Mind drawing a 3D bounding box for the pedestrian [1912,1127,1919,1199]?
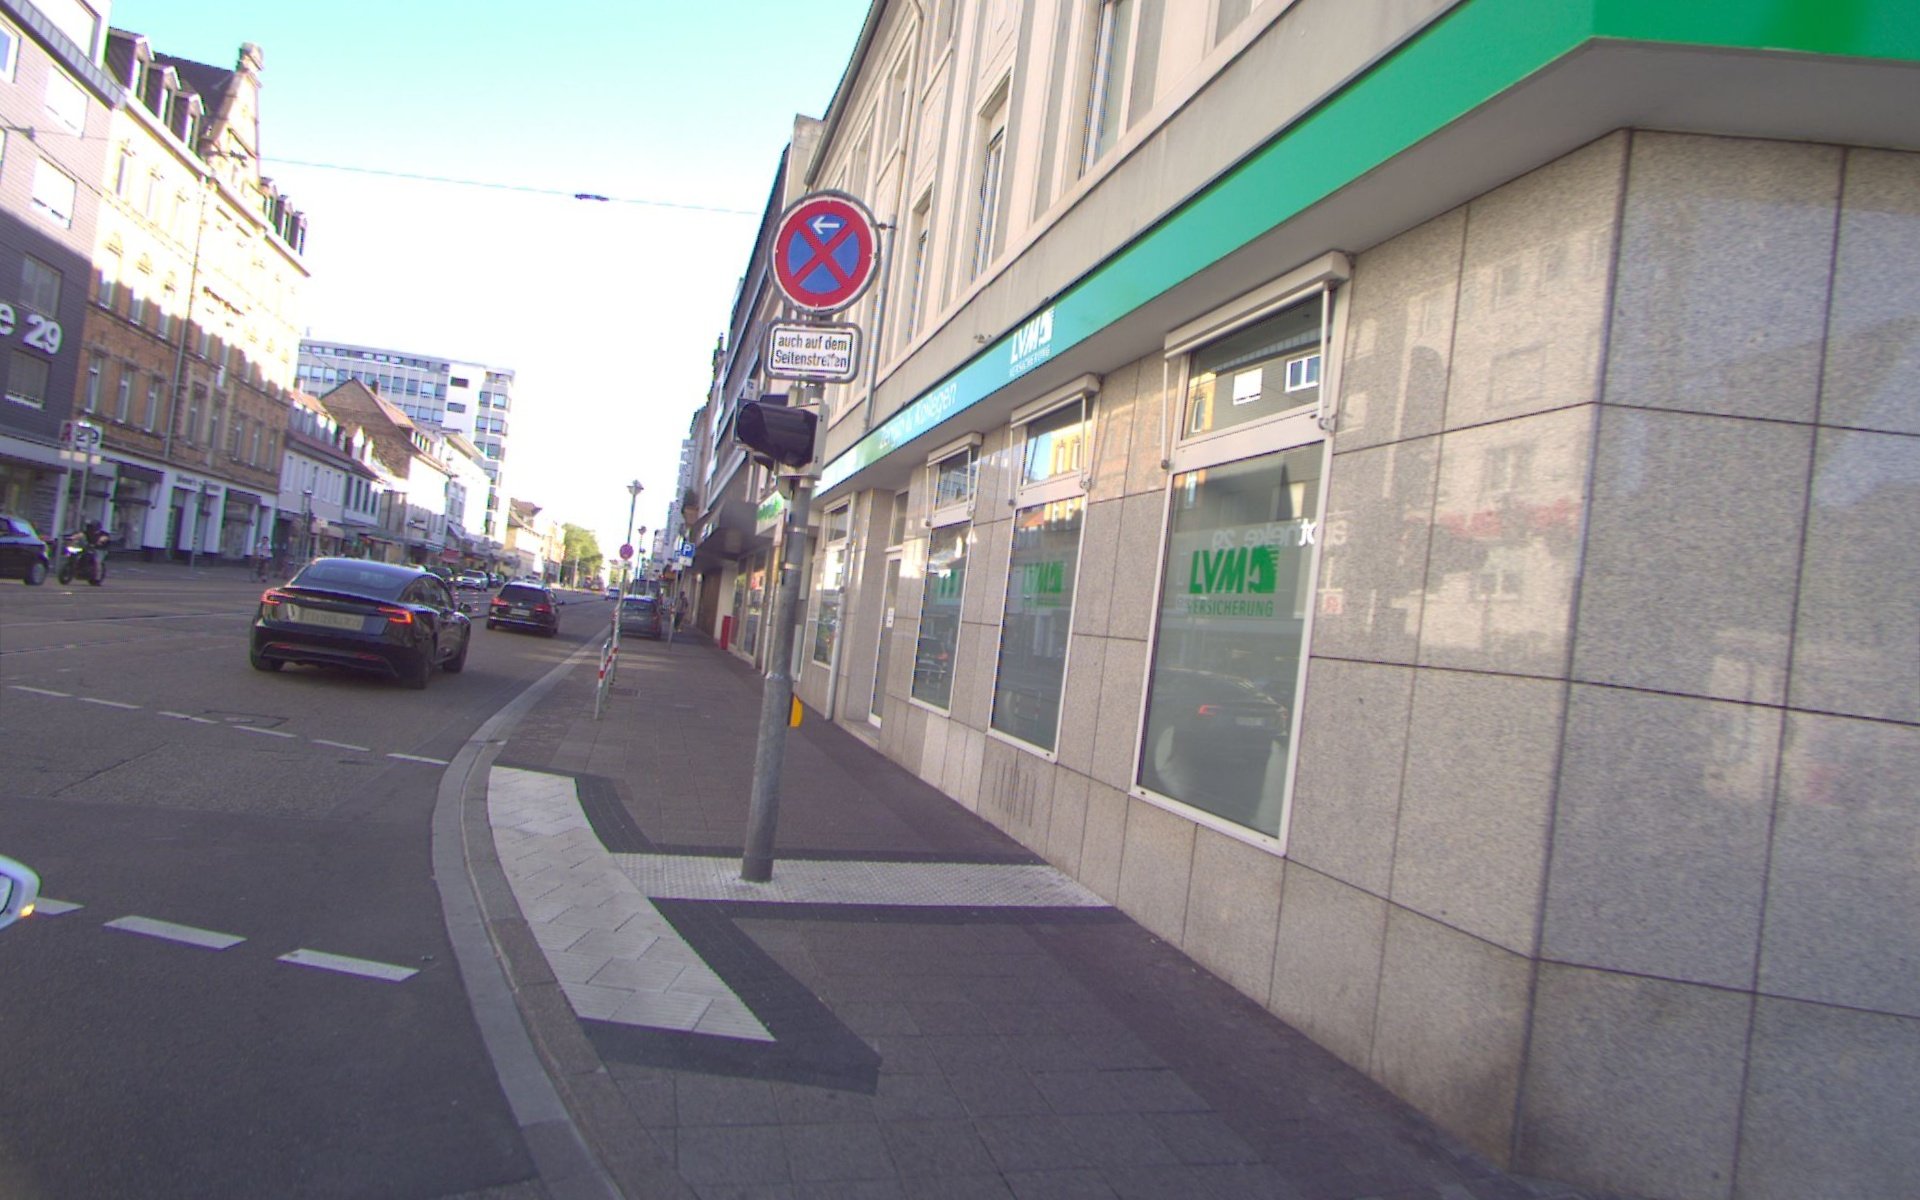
[{"bbox_3d":[1.839,0.808,1.254,0.668,1.863,0.642,7,-1,6],"label":"pedestrian"}]

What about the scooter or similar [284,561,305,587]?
[{"bbox_3d":[-32.267,-1.263,48.756,0.360,1.215,1.471,9,-2,-20],"label":"scooter or similar"}]

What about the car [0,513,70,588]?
[{"bbox_3d":[-20.050,-1.073,20.124,1.692,1.463,4.125,5,-1,-17],"label":"car"}]

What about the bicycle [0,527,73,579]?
[{"bbox_3d":[-25.775,-1.313,27.651,1.915,1.204,0.549,8,-1,-22],"label":"bicycle"}]

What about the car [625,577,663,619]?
[{"bbox_3d":[-21.536,-0.149,68.483,2.146,2.491,5.343,6,-1,-18],"label":"car"}]

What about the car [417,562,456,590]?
[{"bbox_3d":[-34.468,-1.544,66.278,1.629,1.584,2.820,8,-2,-17],"label":"car"}]

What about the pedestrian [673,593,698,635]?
[{"bbox_3d":[-12.721,0.636,46.583,0.912,1.865,0.996,5,0,-17],"label":"pedestrian"}]

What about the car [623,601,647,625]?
[{"bbox_3d":[-30.160,1.193,93.507,1.801,1.892,3.741,8,-2,-17],"label":"car"}]

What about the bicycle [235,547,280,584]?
[{"bbox_3d":[-28.375,-1.369,40.650,0.741,1.308,2.019,7,-2,-16],"label":"bicycle"}]

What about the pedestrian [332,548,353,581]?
[{"bbox_3d":[-36.644,-2.096,59.735,0.604,1.796,0.718,7,-1,-4],"label":"pedestrian"}]

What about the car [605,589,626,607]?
[{"bbox_3d":[-42.545,-0.256,124.370,2.061,1.892,3.741,8,-2,-17],"label":"car"}]

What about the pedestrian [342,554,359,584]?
[{"bbox_3d":[-38.531,-1.947,63.582,0.650,1.844,0.639,8,-1,-23],"label":"pedestrian"}]

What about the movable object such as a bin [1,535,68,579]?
[{"bbox_3d":[-26.473,-1.221,28.799,1.087,1.075,0.696,9,-2,-18],"label":"movable object such as a bin"}]

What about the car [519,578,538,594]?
[{"bbox_3d":[-64.341,-2.063,150.087,1.986,1.984,4.709,8,-2,-18],"label":"car"}]

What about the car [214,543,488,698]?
[{"bbox_3d":[-7.602,0.235,13.086,1.848,1.443,4.351,8,-2,-17],"label":"car"}]

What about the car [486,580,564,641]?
[{"bbox_3d":[-12.702,0.301,29.594,1.743,1.434,4.337,8,-3,-20],"label":"car"}]

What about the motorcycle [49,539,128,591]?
[{"bbox_3d":[-21.392,-0.838,24.735,0.563,1.133,2.111,7,-2,-17],"label":"motorcycle"}]

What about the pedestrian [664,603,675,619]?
[{"bbox_3d":[-26.524,1.002,91.882,0.726,1.418,0.980,7,-1,-18],"label":"pedestrian"}]

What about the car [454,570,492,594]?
[{"bbox_3d":[-37.646,-1.349,77.805,1.867,1.613,4.250,6,-2,-17],"label":"car"}]

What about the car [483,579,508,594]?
[{"bbox_3d":[-53.232,-1.530,115.390,1.748,1.525,3.852,8,-2,-14],"label":"car"}]

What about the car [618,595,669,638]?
[{"bbox_3d":[-12.968,0.660,41.232,1.725,1.479,4.282,7,-2,-17],"label":"car"}]

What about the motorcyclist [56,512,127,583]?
[{"bbox_3d":[-21.315,-1.273,24.717,0.793,1.576,1.142,6,-1,-17],"label":"motorcyclist"}]

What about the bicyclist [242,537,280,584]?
[{"bbox_3d":[-28.236,-1.584,40.661,0.742,1.749,1.142,7,-1,-17],"label":"bicyclist"}]

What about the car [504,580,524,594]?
[{"bbox_3d":[-58.583,-1.685,132.133,1.697,1.590,3.839,8,-2,-15],"label":"car"}]

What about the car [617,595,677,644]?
[{"bbox_3d":[-11.265,0.681,36.403,1.825,1.479,4.290,7,-2,-16],"label":"car"}]

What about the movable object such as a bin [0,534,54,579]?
[{"bbox_3d":[-26.269,-1.223,28.105,1.087,1.084,0.732,9,-2,-17],"label":"movable object such as a bin"}]

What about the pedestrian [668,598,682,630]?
[{"bbox_3d":[-16.103,0.779,56.787,0.550,1.735,0.951,5,-1,-19],"label":"pedestrian"}]

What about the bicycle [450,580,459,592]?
[{"bbox_3d":[-44.907,-1.237,89.428,0.366,1.014,1.590,8,-2,-35],"label":"bicycle"}]

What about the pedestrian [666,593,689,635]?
[{"bbox_3d":[-12.650,0.640,45.088,0.770,1.772,1.029,7,-1,-17],"label":"pedestrian"}]

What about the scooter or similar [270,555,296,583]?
[{"bbox_3d":[-32.695,-1.493,48.607,0.573,1.215,1.471,9,-2,-20],"label":"scooter or similar"}]

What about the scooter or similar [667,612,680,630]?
[{"bbox_3d":[-16.482,1.180,57.815,0.586,0.947,1.294,6,-1,-19],"label":"scooter or similar"}]
